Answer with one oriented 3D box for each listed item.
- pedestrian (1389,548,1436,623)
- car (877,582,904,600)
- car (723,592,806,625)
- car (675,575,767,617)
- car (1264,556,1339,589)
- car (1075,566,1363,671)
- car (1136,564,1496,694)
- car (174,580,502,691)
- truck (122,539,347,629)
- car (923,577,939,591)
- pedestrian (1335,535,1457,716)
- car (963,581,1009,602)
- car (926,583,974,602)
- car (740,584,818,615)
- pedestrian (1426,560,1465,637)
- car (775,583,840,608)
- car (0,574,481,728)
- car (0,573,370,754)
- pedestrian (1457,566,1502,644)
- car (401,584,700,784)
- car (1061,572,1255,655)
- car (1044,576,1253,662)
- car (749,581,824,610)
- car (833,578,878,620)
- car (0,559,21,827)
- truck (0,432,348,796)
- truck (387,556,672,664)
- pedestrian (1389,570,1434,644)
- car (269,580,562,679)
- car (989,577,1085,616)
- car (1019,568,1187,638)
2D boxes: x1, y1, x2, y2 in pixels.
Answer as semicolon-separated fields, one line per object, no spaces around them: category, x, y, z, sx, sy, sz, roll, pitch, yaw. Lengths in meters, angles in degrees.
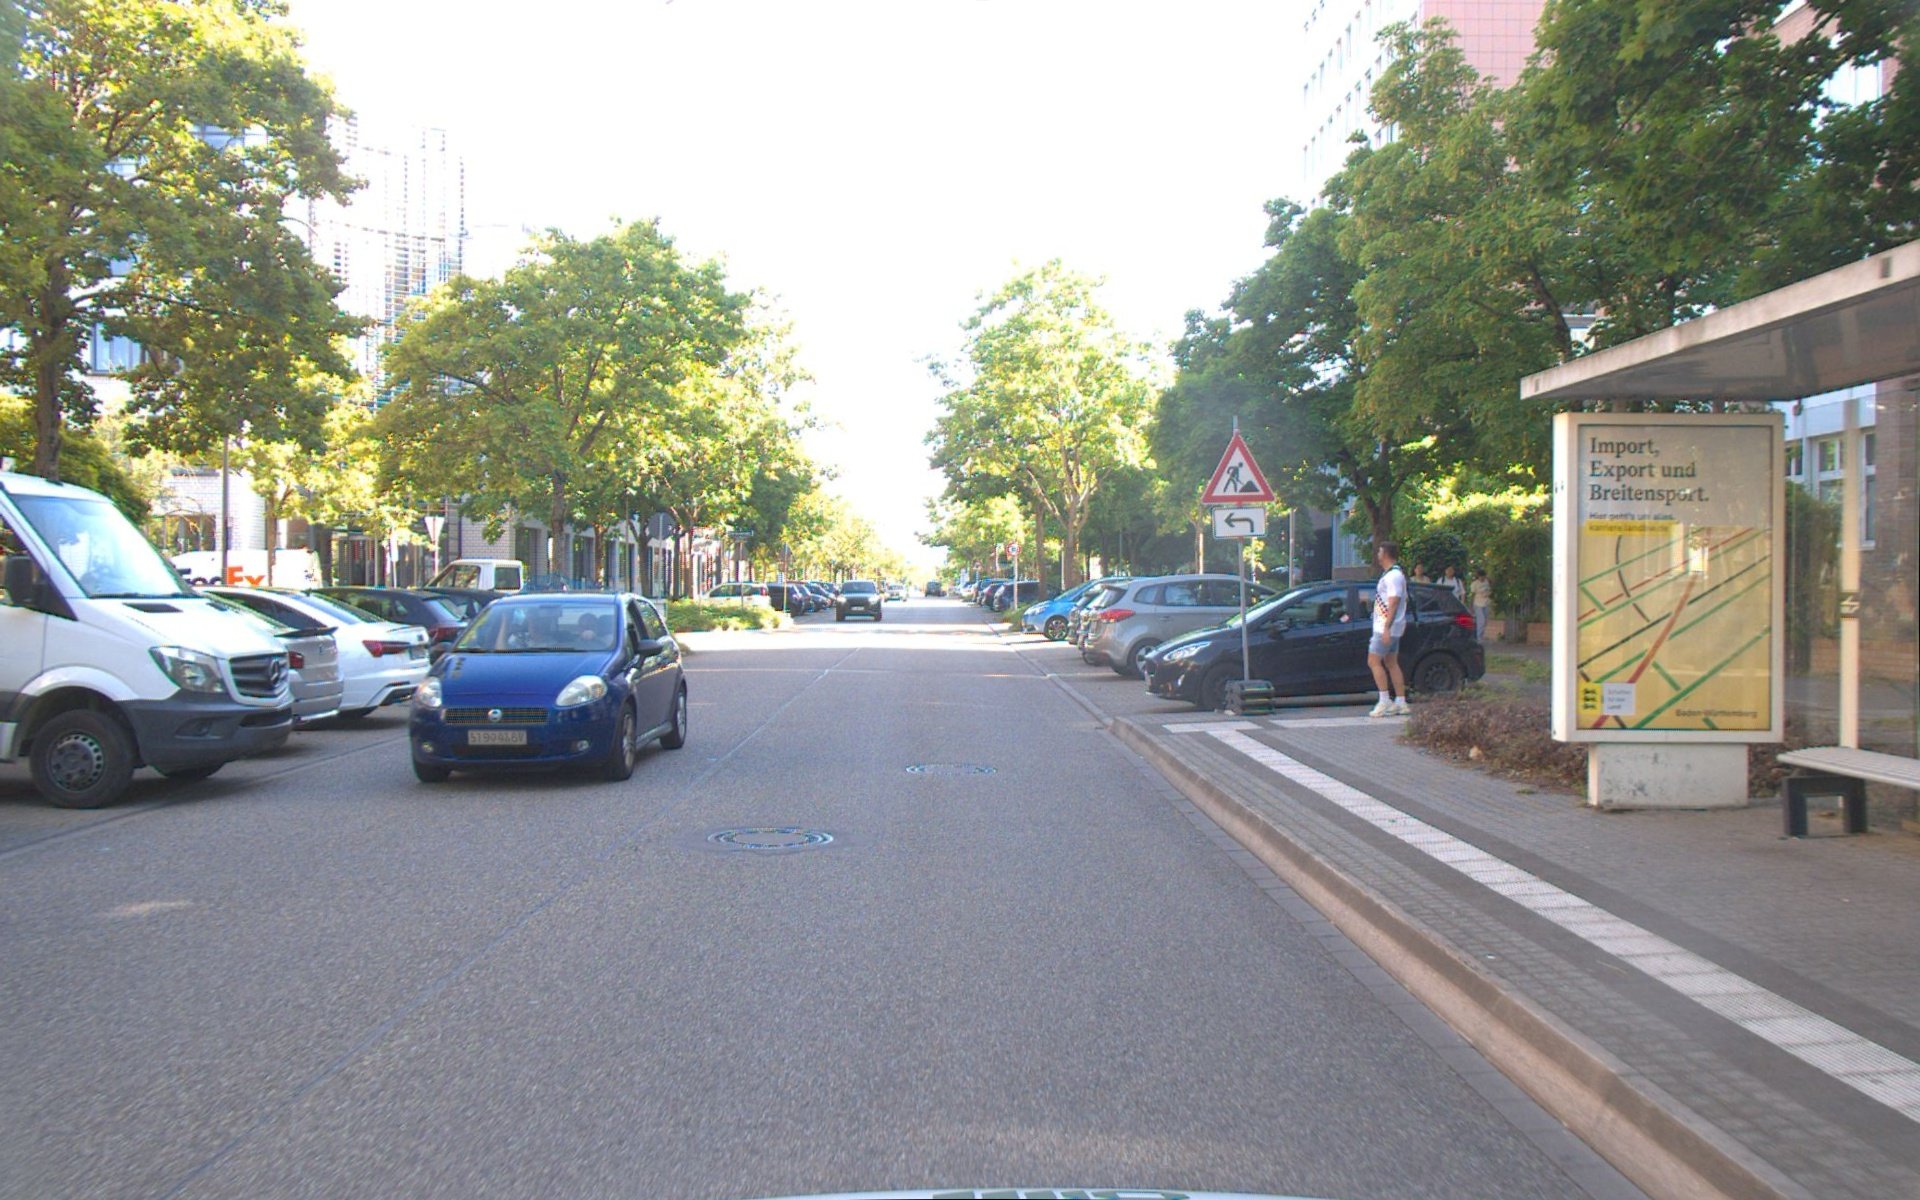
pedestrian;10.850;-0.355;39.681;0.684;1.740;0.918;-3;1;-12
car;-5.623;-0.725;133.828;1.775;1.440;4.109;0;1;3
car;-8.938;0.383;75.870;3.657;1.489;1.676;0;0;-2
car;-9.532;-0.154;66.153;3.509;1.577;1.636;0;-2;-4
car;20.464;-1.637;99.176;3.992;1.814;1.998;2;0;-5
car;4.154;0.269;26.901;4.269;1.625;1.936;0;0;-7
car;4.144;0.314;19.642;3.856;1.464;1.773;0;0;-3
car;-8.605;0.473;23.080;3.903;1.460;1.723;-1;0;5
truck;-23.052;-0.515;52.776;5.982;2.752;2.577;0;0;-3
car;-3.602;-2.006;204.538;1.894;1.625;4.365;0;1;-1
pedestrian;4.394;0.243;16.693;0.902;1.740;0.695;-3;1;-14
car;2.274;-0.754;146.785;3.910;1.823;1.998;0;0;-6
car;-0.892;-0.644;139.876;3.910;1.653;1.998;0;0;-6
car;-8.726;-0.020;79.949;3.657;1.489;1.676;0;0;-2
pedestrian;9.868;-0.039;33.645;0.590;1.547;0.594;0;0;-4
car;-9.313;-0.297;101.175;3.814;1.489;1.857;0;0;-2
car;-7.753;0.518;18.120;4.450;1.467;1.889;2;1;-3
car;-7.950;0.528;15.181;4.338;1.513;1.999;1;0;-3
pedestrian;10.591;0.099;33.723;0.741;1.579;0.559;0;0;-4
car;-3.300;0.591;14.065;1.610;1.445;3.999;0;1;-1
car;4.104;0.262;34.678;3.769;1.509;1.824;-3;1;-2
car;3.618;0.340;32.125;3.727;1.433;1.700;-3;1;-6
car;-9.207;-0.253;88.069;3.814;1.489;1.857;0;0;-2
car;-4.382;-0.068;69.884;1.854;1.713;4.350;0;1;-3
car;-8.037;0.532;9.555;4.024;1.691;2.000;2;0;-1
truck;-8.021;0.089;12.285;6.105;2.464;2.187;0;0;-1
truck;-8.167;0.172;31.720;4.882;1.993;2.139;0;0;1
pedestrian;9.135;0.133;33.480;0.686;1.483;0.715;-1;1;-4
car;-8.361;0.433;25.612;3.903;1.460;1.790;0;0;3
car;3.500;-0.172;75.397;4.183;1.662;1.857;-1;0;-4
car;3.872;0.062;45.305;4.316;1.646;1.911;-3;1;-2
